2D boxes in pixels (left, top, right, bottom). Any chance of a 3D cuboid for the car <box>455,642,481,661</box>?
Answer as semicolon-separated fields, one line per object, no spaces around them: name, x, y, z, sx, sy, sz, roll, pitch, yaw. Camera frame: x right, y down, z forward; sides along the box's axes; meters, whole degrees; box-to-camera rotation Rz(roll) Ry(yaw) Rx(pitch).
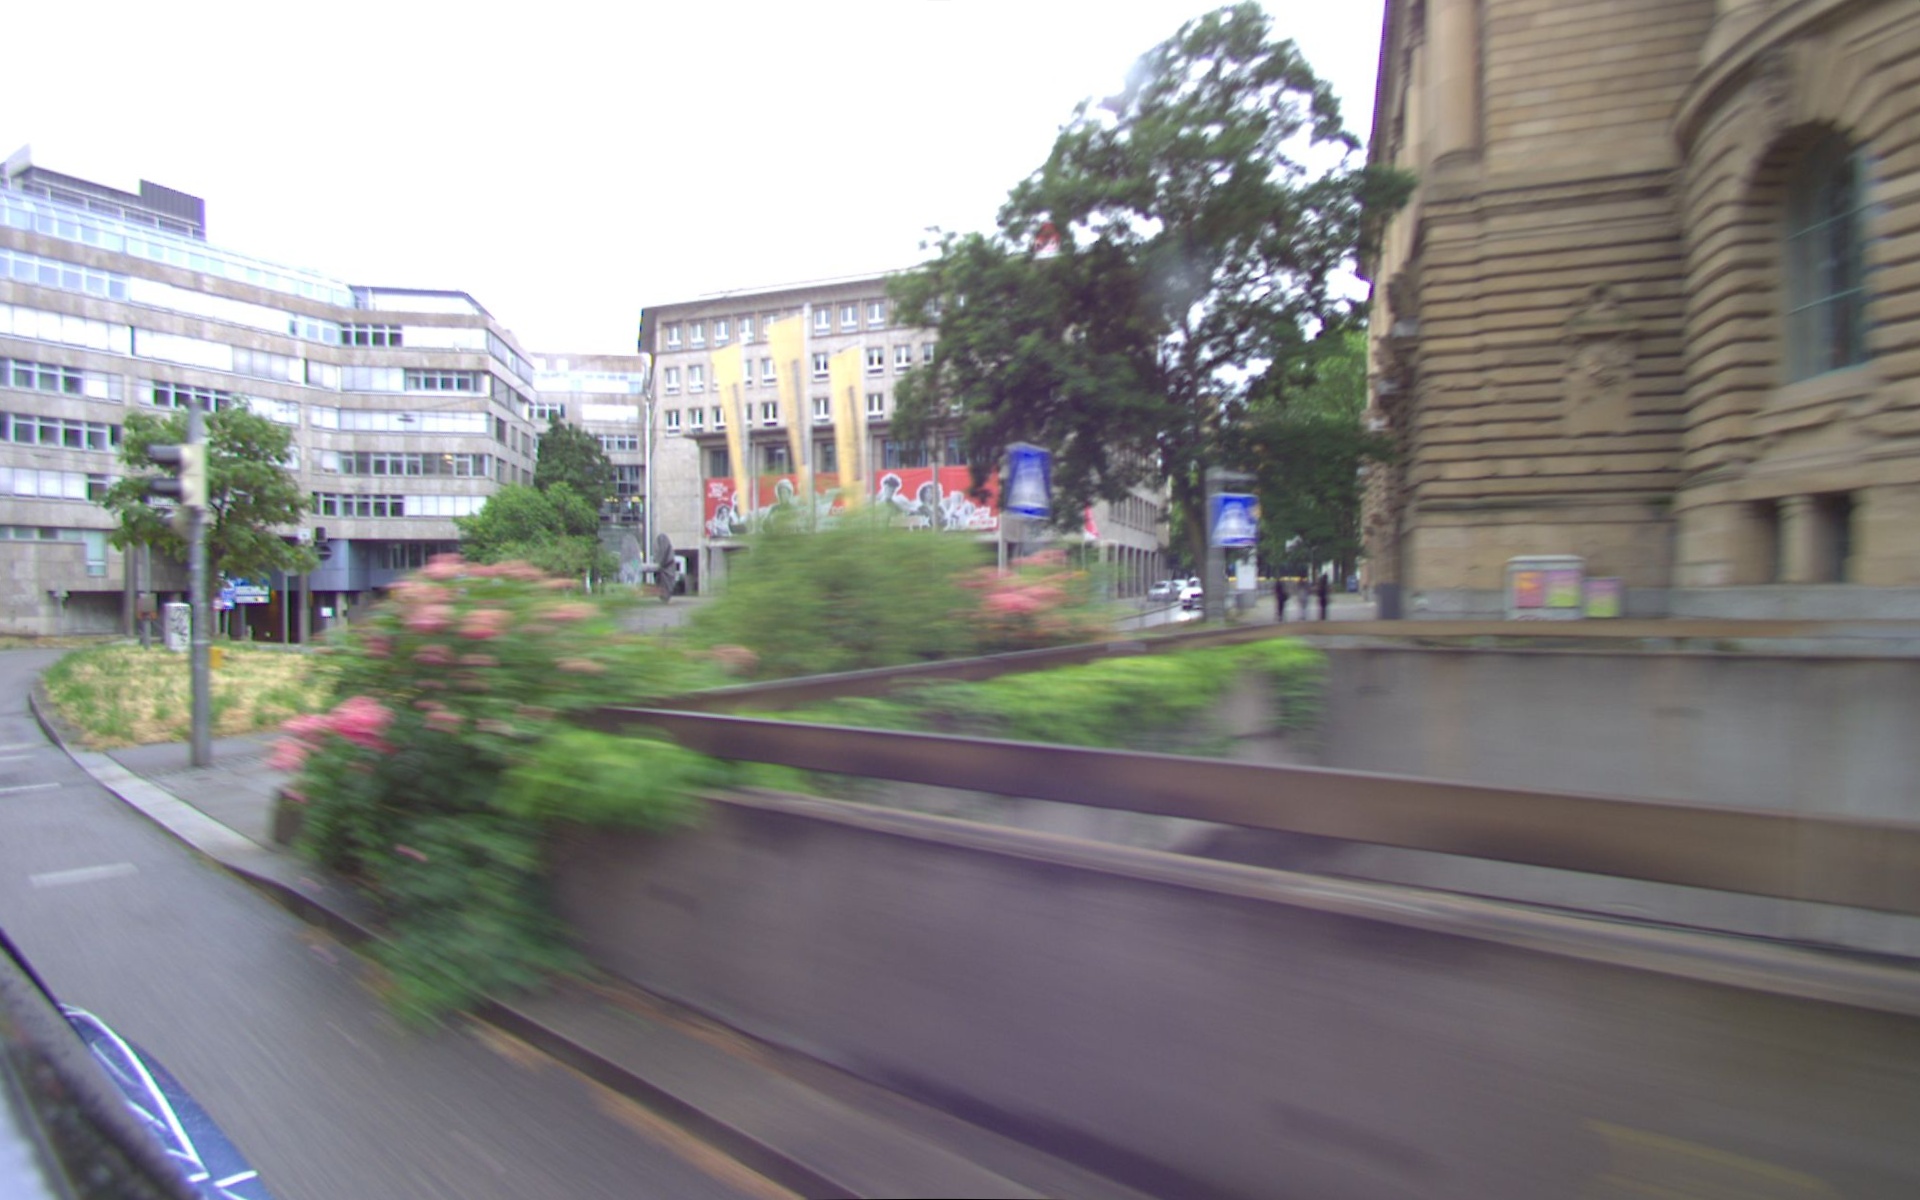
car;-43.941;4.604;90.485;1.965;1.504;4.858;0;-1;-25

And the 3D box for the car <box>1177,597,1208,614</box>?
car;17.402;0.397;75.631;1.610;1.258;3.593;-1;0;24

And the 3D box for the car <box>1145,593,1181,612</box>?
car;14.116;0.155;70.164;1.611;1.258;3.591;-1;0;26

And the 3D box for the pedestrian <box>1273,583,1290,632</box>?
pedestrian;10.951;0.254;34.516;0.496;1.636;0.384;-1;-1;21
